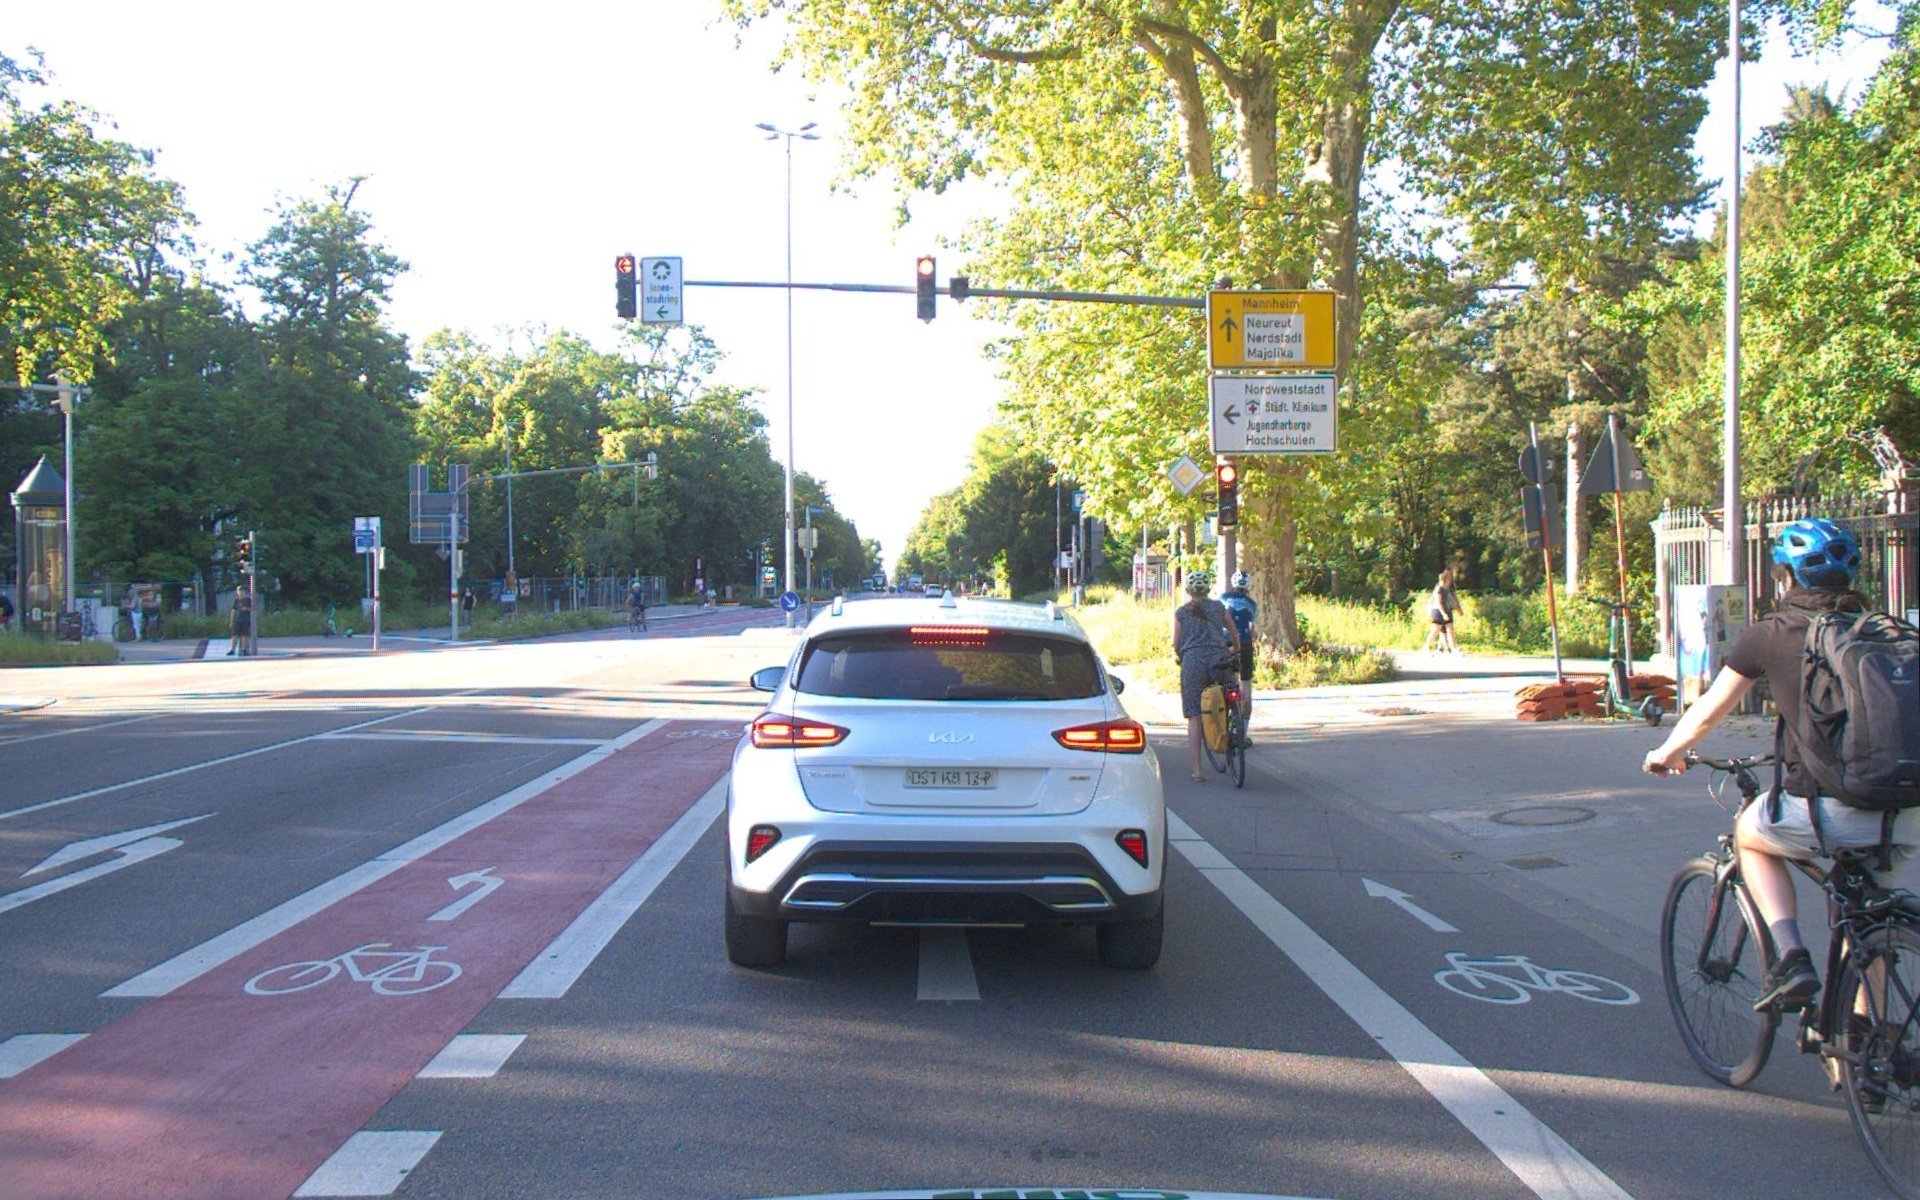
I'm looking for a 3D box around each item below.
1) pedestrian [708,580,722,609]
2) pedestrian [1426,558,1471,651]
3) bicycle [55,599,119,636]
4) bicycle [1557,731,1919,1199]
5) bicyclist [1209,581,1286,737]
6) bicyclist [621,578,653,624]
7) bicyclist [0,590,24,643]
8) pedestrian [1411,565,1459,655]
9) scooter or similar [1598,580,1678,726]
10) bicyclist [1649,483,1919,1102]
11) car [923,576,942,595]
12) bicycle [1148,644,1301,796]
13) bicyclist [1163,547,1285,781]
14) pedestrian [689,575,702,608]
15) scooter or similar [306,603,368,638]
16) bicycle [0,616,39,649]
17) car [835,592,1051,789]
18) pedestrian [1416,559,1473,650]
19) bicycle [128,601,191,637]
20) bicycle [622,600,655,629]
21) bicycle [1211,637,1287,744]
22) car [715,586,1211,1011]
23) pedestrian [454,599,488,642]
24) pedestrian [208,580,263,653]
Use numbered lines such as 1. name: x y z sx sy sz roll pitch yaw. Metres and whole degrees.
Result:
1. pedestrian: -15.581 -0.356 105.226 0.769 1.817 0.751 0 0 0
2. pedestrian: 9.700 0.085 32.850 0.604 1.802 0.646 -1 0 -8
3. bicycle: -28.374 0.561 53.784 1.823 1.168 0.443 0 0 0
4. bicycle: 2.454 0.987 4.743 0.655 1.027 2.080 1 1 -2
5. bicyclist: 2.888 0.576 16.646 0.543 1.504 0.716 -3 0 -2
6. bicyclist: -11.825 0.021 60.558 0.857 1.636 1.188 -1 0 1
7. bicyclist: -30.160 0.530 51.956 0.954 1.634 0.878 -1 0 0
8. pedestrian: 9.255 0.188 32.213 0.676 1.729 0.643 -1 0 -7
9. scooter or similar: 6.518 0.484 15.935 0.223 1.350 1.171 -1 0 -2
10. bicyclist: 2.463 0.508 4.725 0.652 1.630 0.720 1 0 -2
11. car: -2.965 -1.575 178.426 1.953 2.049 3.999 -1 1 -1
12. bicycle: 2.142 0.941 13.762 0.742 1.031 2.568 1 1 -2
13. bicyclist: 2.155 0.502 13.631 0.738 1.827 1.164 1 0 -2
14. pedestrian: -16.726 -0.524 104.631 0.627 2.049 0.754 0 0 11
15. scooter or similar: -20.997 0.674 55.789 0.697 1.144 1.916 0 0 32
16. bicycle: -30.434 1.046 51.957 2.650 1.006 0.581 -1 0 -1
17. car: -0.205 0.709 14.894 1.694 1.509 3.515 -1 1 -3
18. pedestrian: 9.828 0.088 33.571 0.802 1.802 0.831 -1 0 -8
19. bicycle: -25.949 0.611 53.623 1.826 1.168 0.290 0 0 -8
20. bicycle: -11.811 0.524 60.751 0.650 1.006 2.504 -1 1 1
21. bicycle: 2.902 0.892 16.710 0.393 0.973 1.550 -3 0 -2
22. car: -0.057 0.693 7.911 1.785 1.506 3.935 0 1 -2
23. pedestrian: -18.915 0.788 63.948 1.067 1.631 0.999 -1 0 -7
24. pedestrian: -20.544 0.456 46.921 0.974 2.049 1.191 0 0 4
